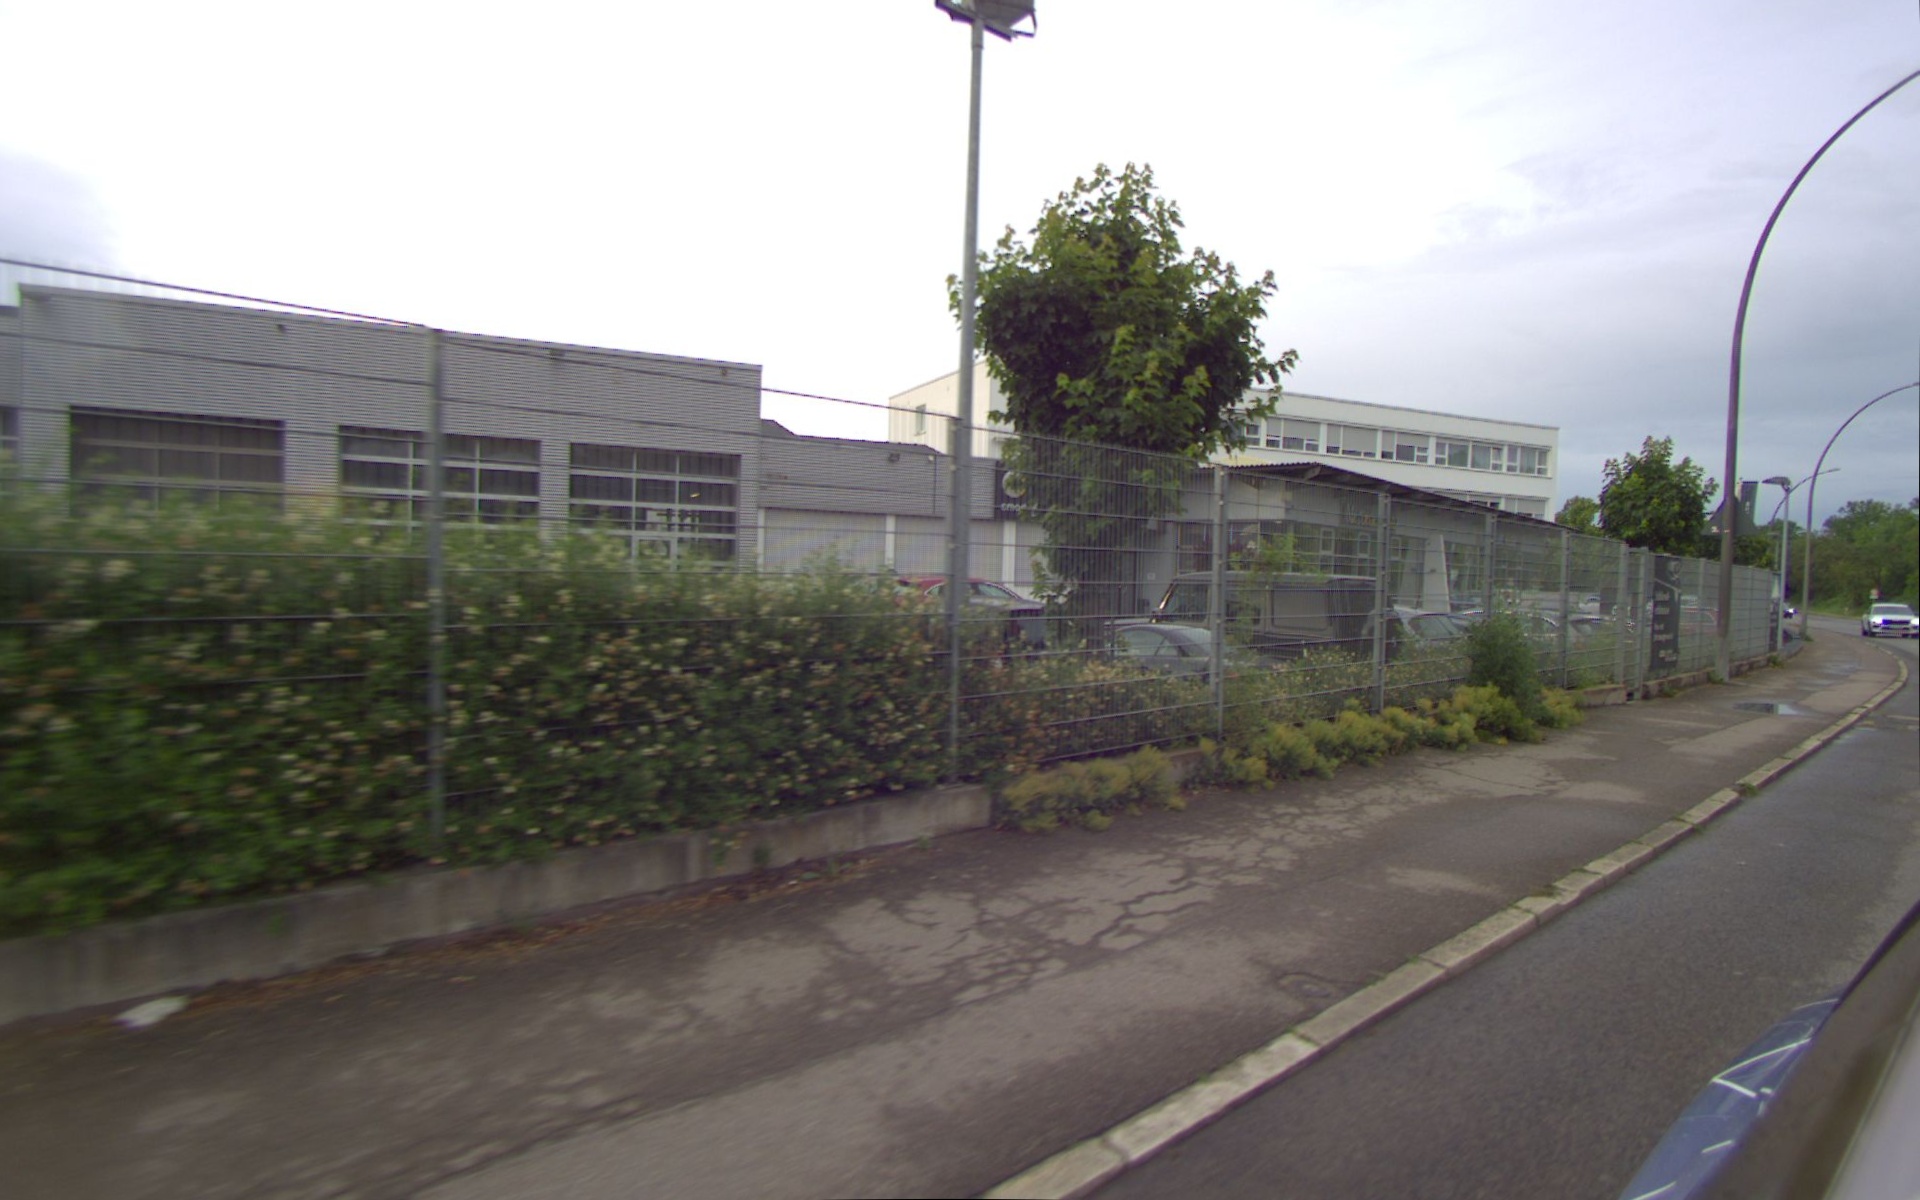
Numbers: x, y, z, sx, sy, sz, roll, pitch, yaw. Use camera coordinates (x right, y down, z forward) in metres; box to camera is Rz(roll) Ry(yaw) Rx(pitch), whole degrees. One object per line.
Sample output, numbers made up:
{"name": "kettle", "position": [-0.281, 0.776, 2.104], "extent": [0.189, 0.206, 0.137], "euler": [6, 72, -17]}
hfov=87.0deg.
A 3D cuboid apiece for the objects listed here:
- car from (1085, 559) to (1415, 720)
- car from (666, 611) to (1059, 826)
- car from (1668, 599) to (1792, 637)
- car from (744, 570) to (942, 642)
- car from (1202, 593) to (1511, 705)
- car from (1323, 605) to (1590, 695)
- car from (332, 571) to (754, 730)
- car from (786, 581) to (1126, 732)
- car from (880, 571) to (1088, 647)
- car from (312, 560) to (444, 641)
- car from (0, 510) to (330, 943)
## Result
{"name": "car", "position": [3.905, 0.469, 14.170], "extent": [1.743, 1.918, 4.140], "euler": [-1, 0, -42]}
{"name": "car", "position": [-1.086, 0.891, 9.441], "extent": [1.652, 1.528, 3.908], "euler": [-1, 0, -42]}
{"name": "car", "position": [33.806, 0.754, 44.562], "extent": [1.859, 1.575, 4.008], "euler": [-1, 0, -14]}
{"name": "car", "position": [-2.612, 0.107, 22.580], "extent": [3.918, 1.438, 2.003], "euler": [-1, 0, -27]}
{"name": "car", "position": [5.816, 0.642, 15.244], "extent": [1.757, 1.421, 3.997], "euler": [-1, 0, -37]}
{"name": "car", "position": [9.071, 0.840, 18.727], "extent": [1.966, 1.421, 3.992], "euler": [-1, 0, -42]}
{"name": "car", "position": [-4.730, 0.456, 11.893], "extent": [4.228, 1.525, 1.785], "euler": [-2, 0, -44]}
{"name": "car", "position": [-0.206, 0.543, 11.927], "extent": [1.964, 1.427, 3.996], "euler": [-1, 0, -38]}
{"name": "car", "position": [0.506, 0.150, 21.507], "extent": [3.918, 1.438, 2.003], "euler": [-1, 0, -27]}
{"name": "car", "position": [-11.523, -0.011, 20.310], "extent": [1.684, 1.418, 4.659], "euler": [-1, 0, -23]}
{"name": "car", "position": [-5.313, 0.540, 6.647], "extent": [1.679, 2.039, 4.000], "euler": [1, 1, -36]}
